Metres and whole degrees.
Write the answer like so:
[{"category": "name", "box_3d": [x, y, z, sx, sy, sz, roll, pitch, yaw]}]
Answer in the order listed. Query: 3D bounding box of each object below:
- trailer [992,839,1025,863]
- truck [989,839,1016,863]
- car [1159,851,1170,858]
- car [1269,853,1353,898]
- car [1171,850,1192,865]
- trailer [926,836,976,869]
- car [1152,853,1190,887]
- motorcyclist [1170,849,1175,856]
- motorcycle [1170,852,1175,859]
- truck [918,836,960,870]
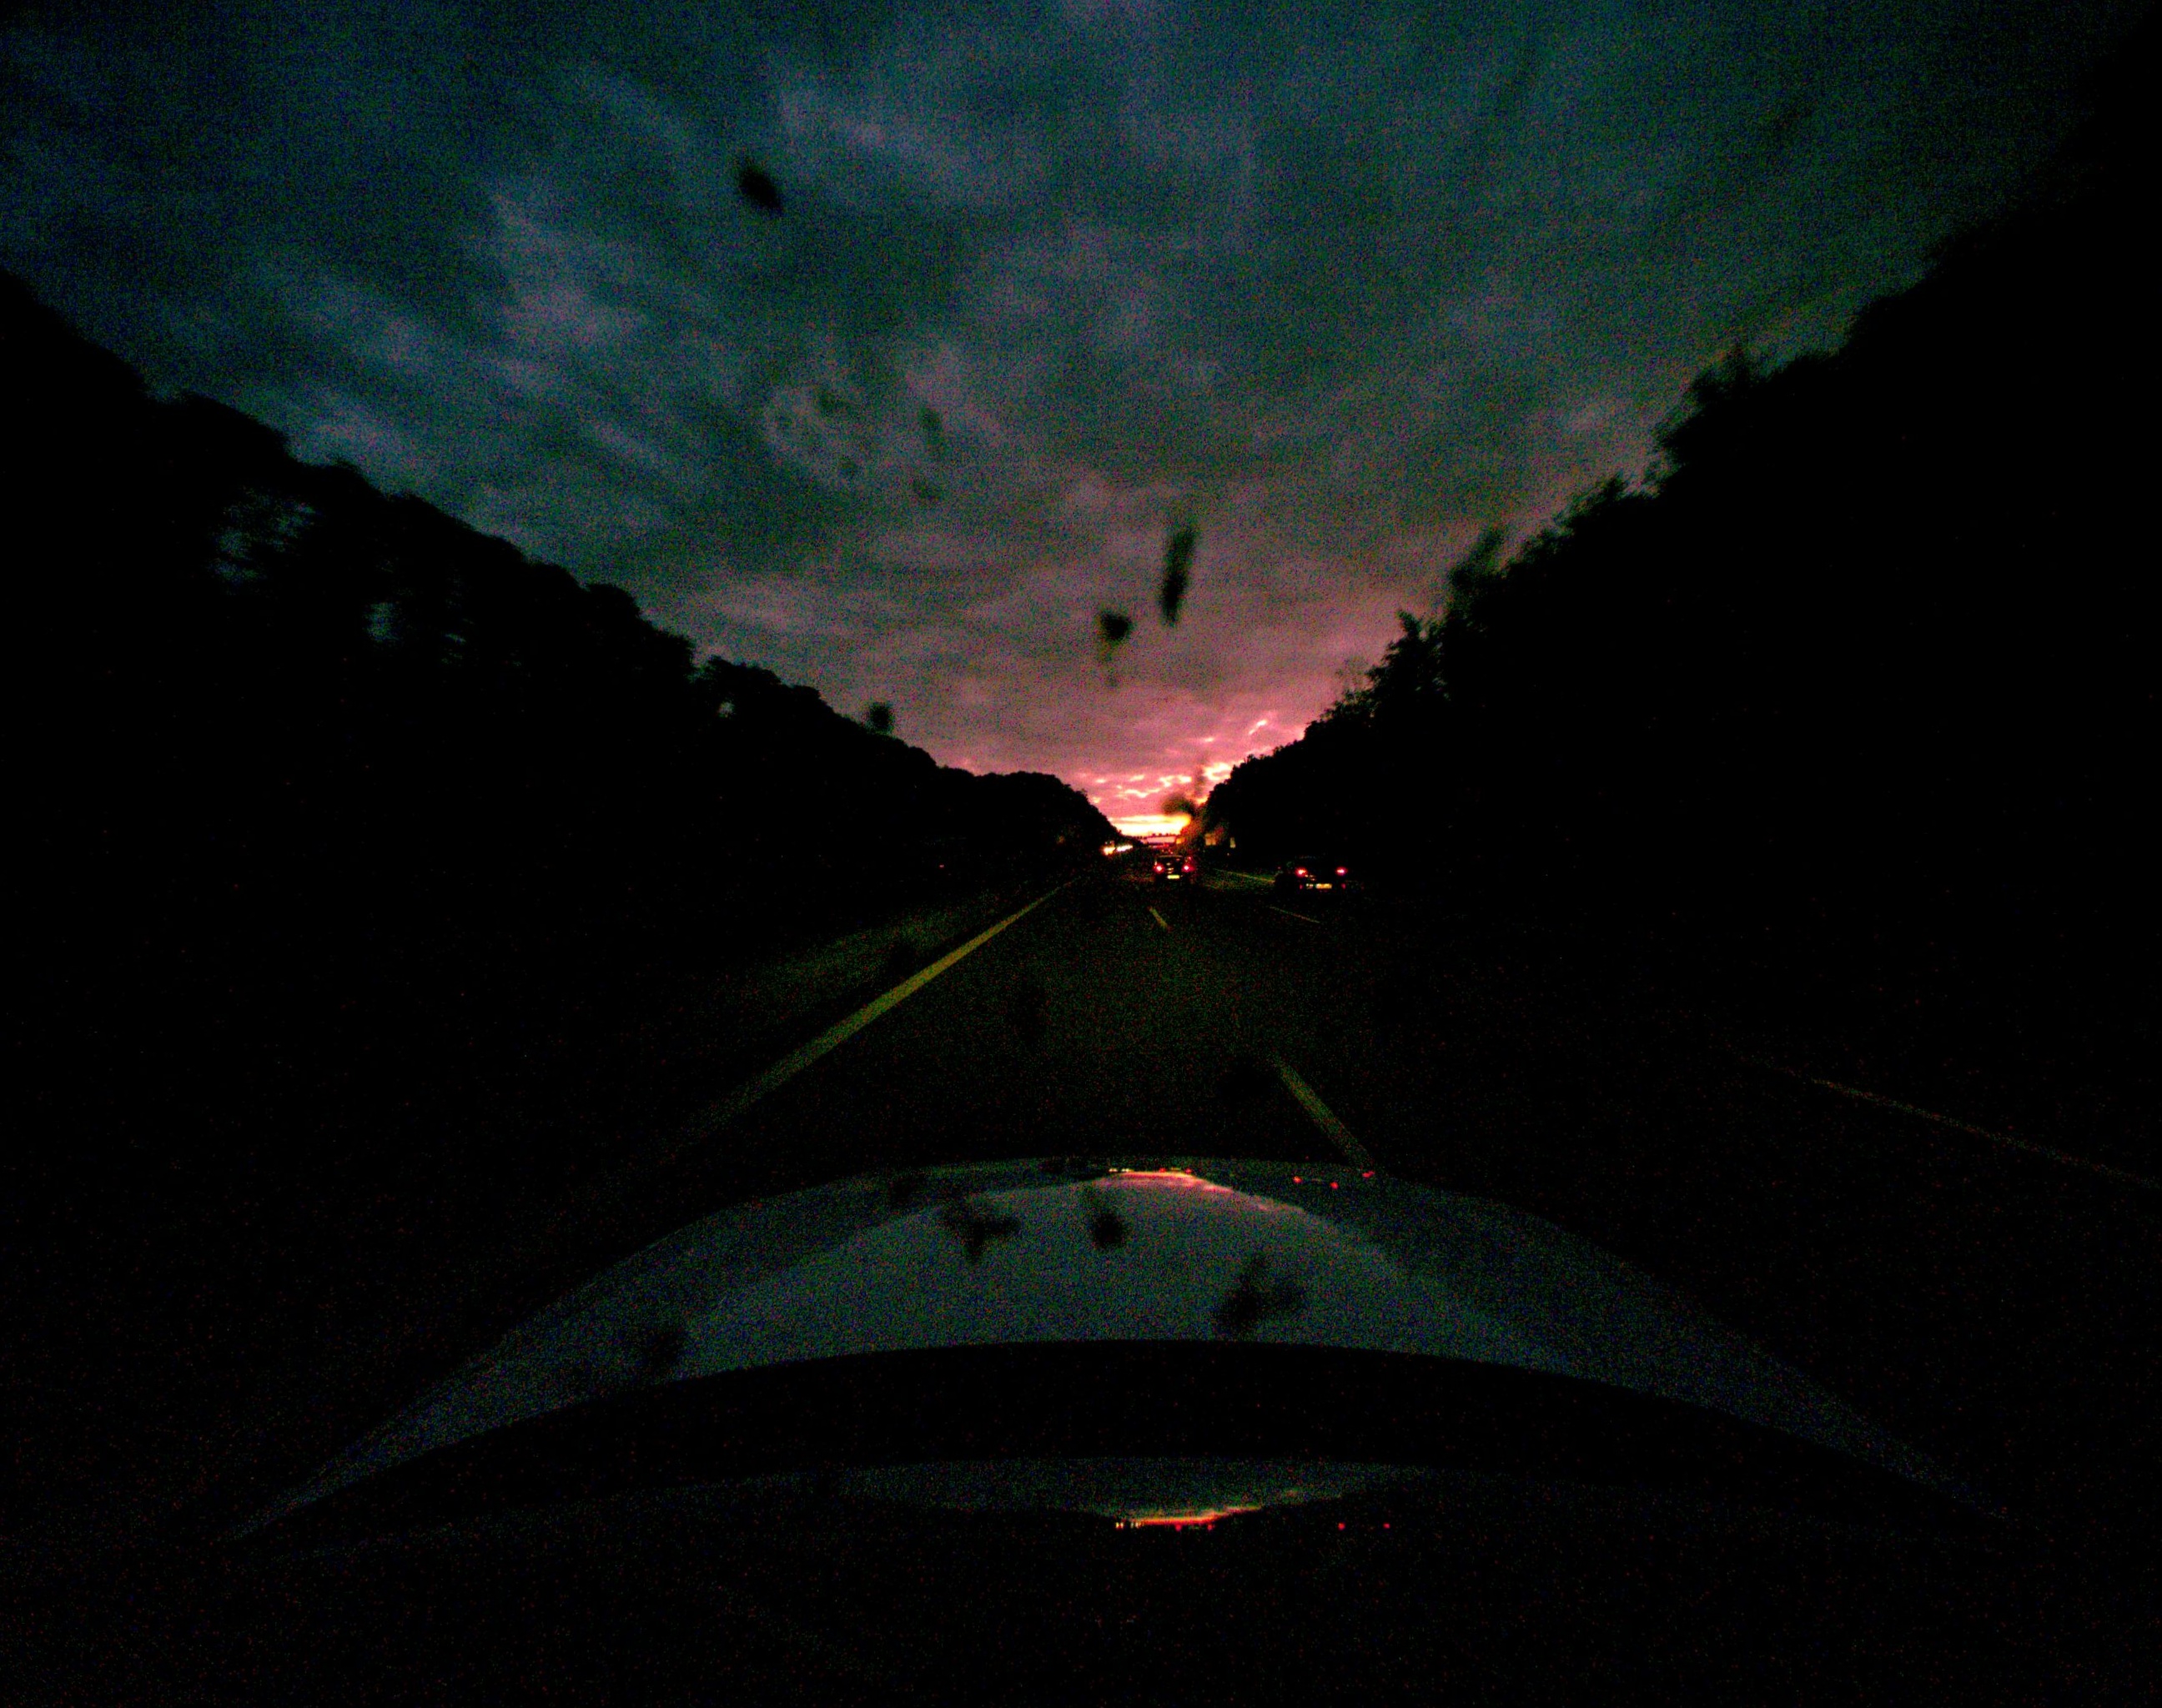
[{"category": "trailer", "box_3d": [-13.374, -0.499, 151.488, 3.174, 4.104, 14.210, -1, 0, 7]}, {"category": "truck", "box_3d": [-14.020, -0.550, 145.913, 3.174, 4.104, 7.704, -1, 0, 7]}, {"category": "car", "box_3d": [17.823, 0.119, 173.817, 1.858, 1.494, 4.400, -1, -1, 1]}, {"category": "car", "box_3d": [7.899, 0.694, 28.409, 1.857, 1.435, 4.588, -1, 0, 3]}, {"category": "car", "box_3d": [10.881, 0.387, 88.078, 1.819, 1.476, 4.400, -1, -1, 1]}, {"category": "trailer", "box_3d": [-17.564, -0.206, 111.505, 3.174, 4.104, 13.764, -1, 0, 6]}, {"category": "car", "box_3d": [4.303, 0.756, 39.302, 1.696, 1.509, 4.238, -1, -1, 5]}, {"category": "motorcyclist", "box_3d": [16.764, -0.330, 149.532, 0.825, 1.291, 1.192, -2, 0, 5]}, {"category": "motorcycle", "box_3d": [16.803, 0.293, 149.670, 0.825, 1.134, 2.480, -2, 0, 6]}, {"category": "truck", "box_3d": [-18.266, -0.150, 105.226, 3.174, 4.104, 7.704, -1, 0, 7]}]
